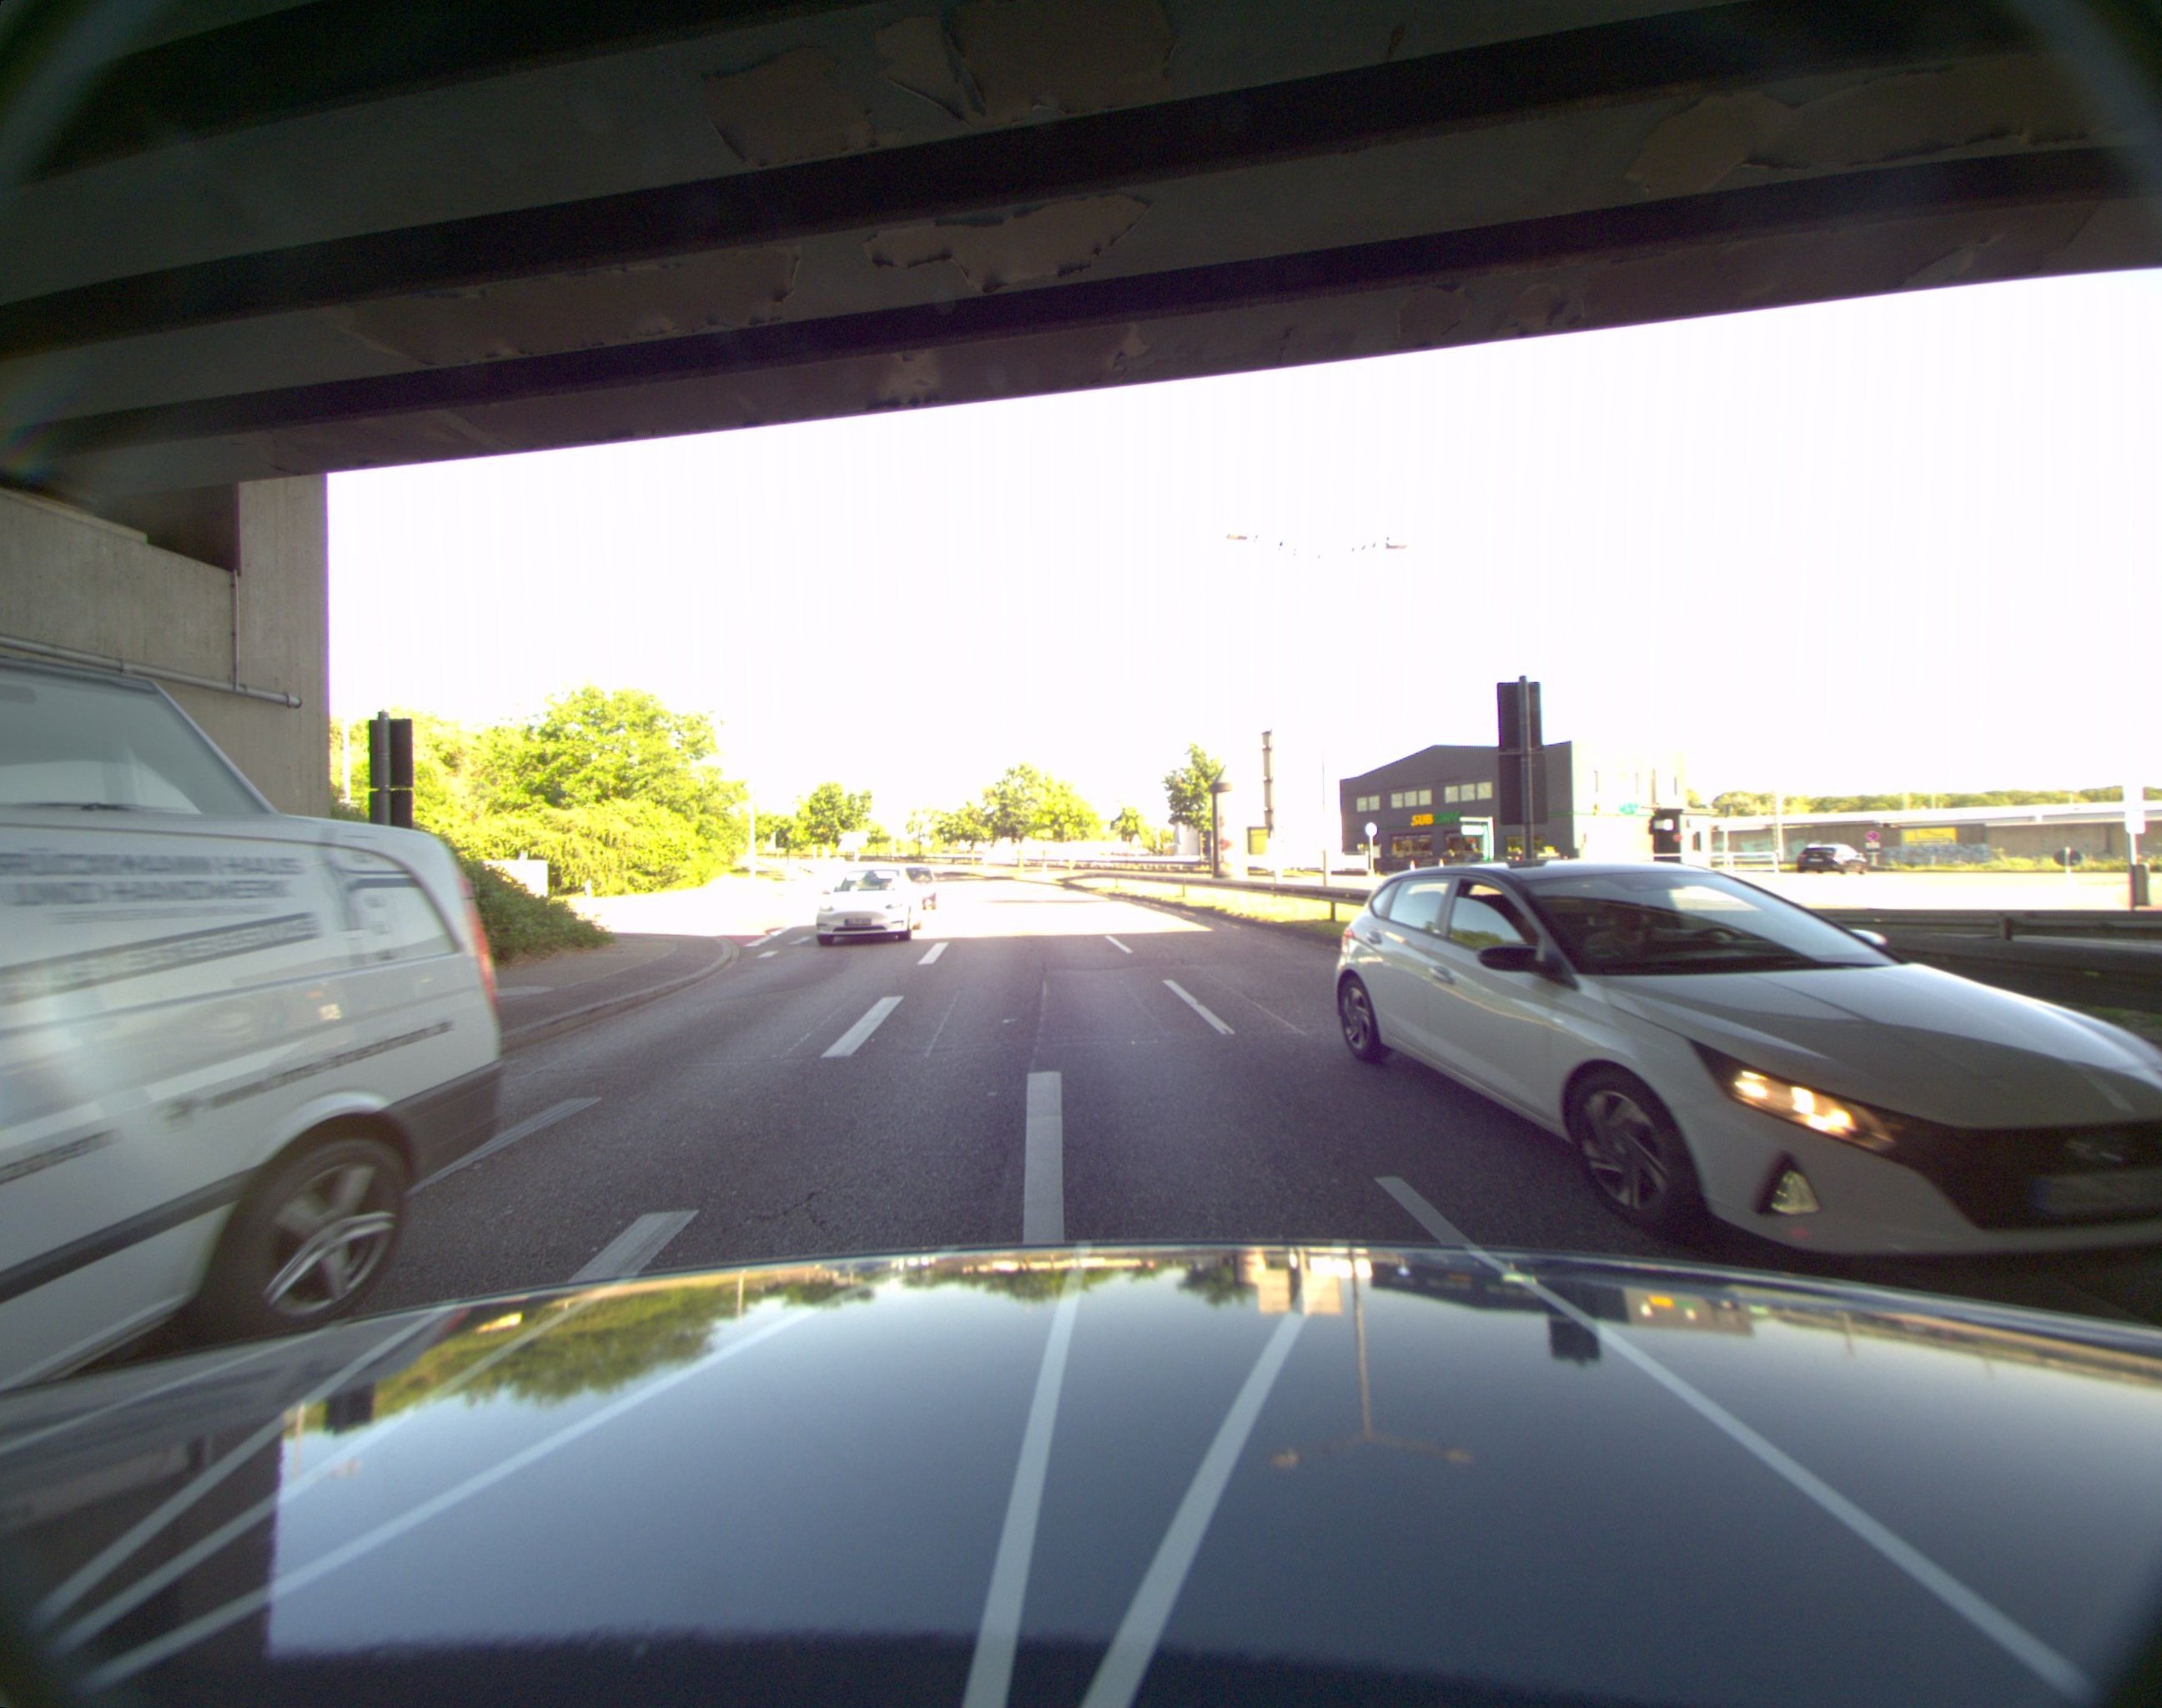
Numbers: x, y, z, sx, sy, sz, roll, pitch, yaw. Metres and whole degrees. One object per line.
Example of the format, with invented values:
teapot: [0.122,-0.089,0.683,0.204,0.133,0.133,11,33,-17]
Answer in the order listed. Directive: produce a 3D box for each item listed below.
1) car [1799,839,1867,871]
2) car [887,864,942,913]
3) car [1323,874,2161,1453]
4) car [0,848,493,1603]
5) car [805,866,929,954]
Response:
car: [38.454,0.051,38.837,4.007,1.434,1.878,-3,1,-37]
car: [-6.239,1.231,28.831,1.780,1.591,4.101,-3,1,-10]
car: [2.856,0.886,4.015,1.737,1.396,3.870,-2,0,-3]
car: [-3.556,0.932,1.008,1.903,1.825,4.834,-2,0,-3]
car: [-4.751,1.161,17.541,2.000,1.542,4.418,-3,1,-7]
